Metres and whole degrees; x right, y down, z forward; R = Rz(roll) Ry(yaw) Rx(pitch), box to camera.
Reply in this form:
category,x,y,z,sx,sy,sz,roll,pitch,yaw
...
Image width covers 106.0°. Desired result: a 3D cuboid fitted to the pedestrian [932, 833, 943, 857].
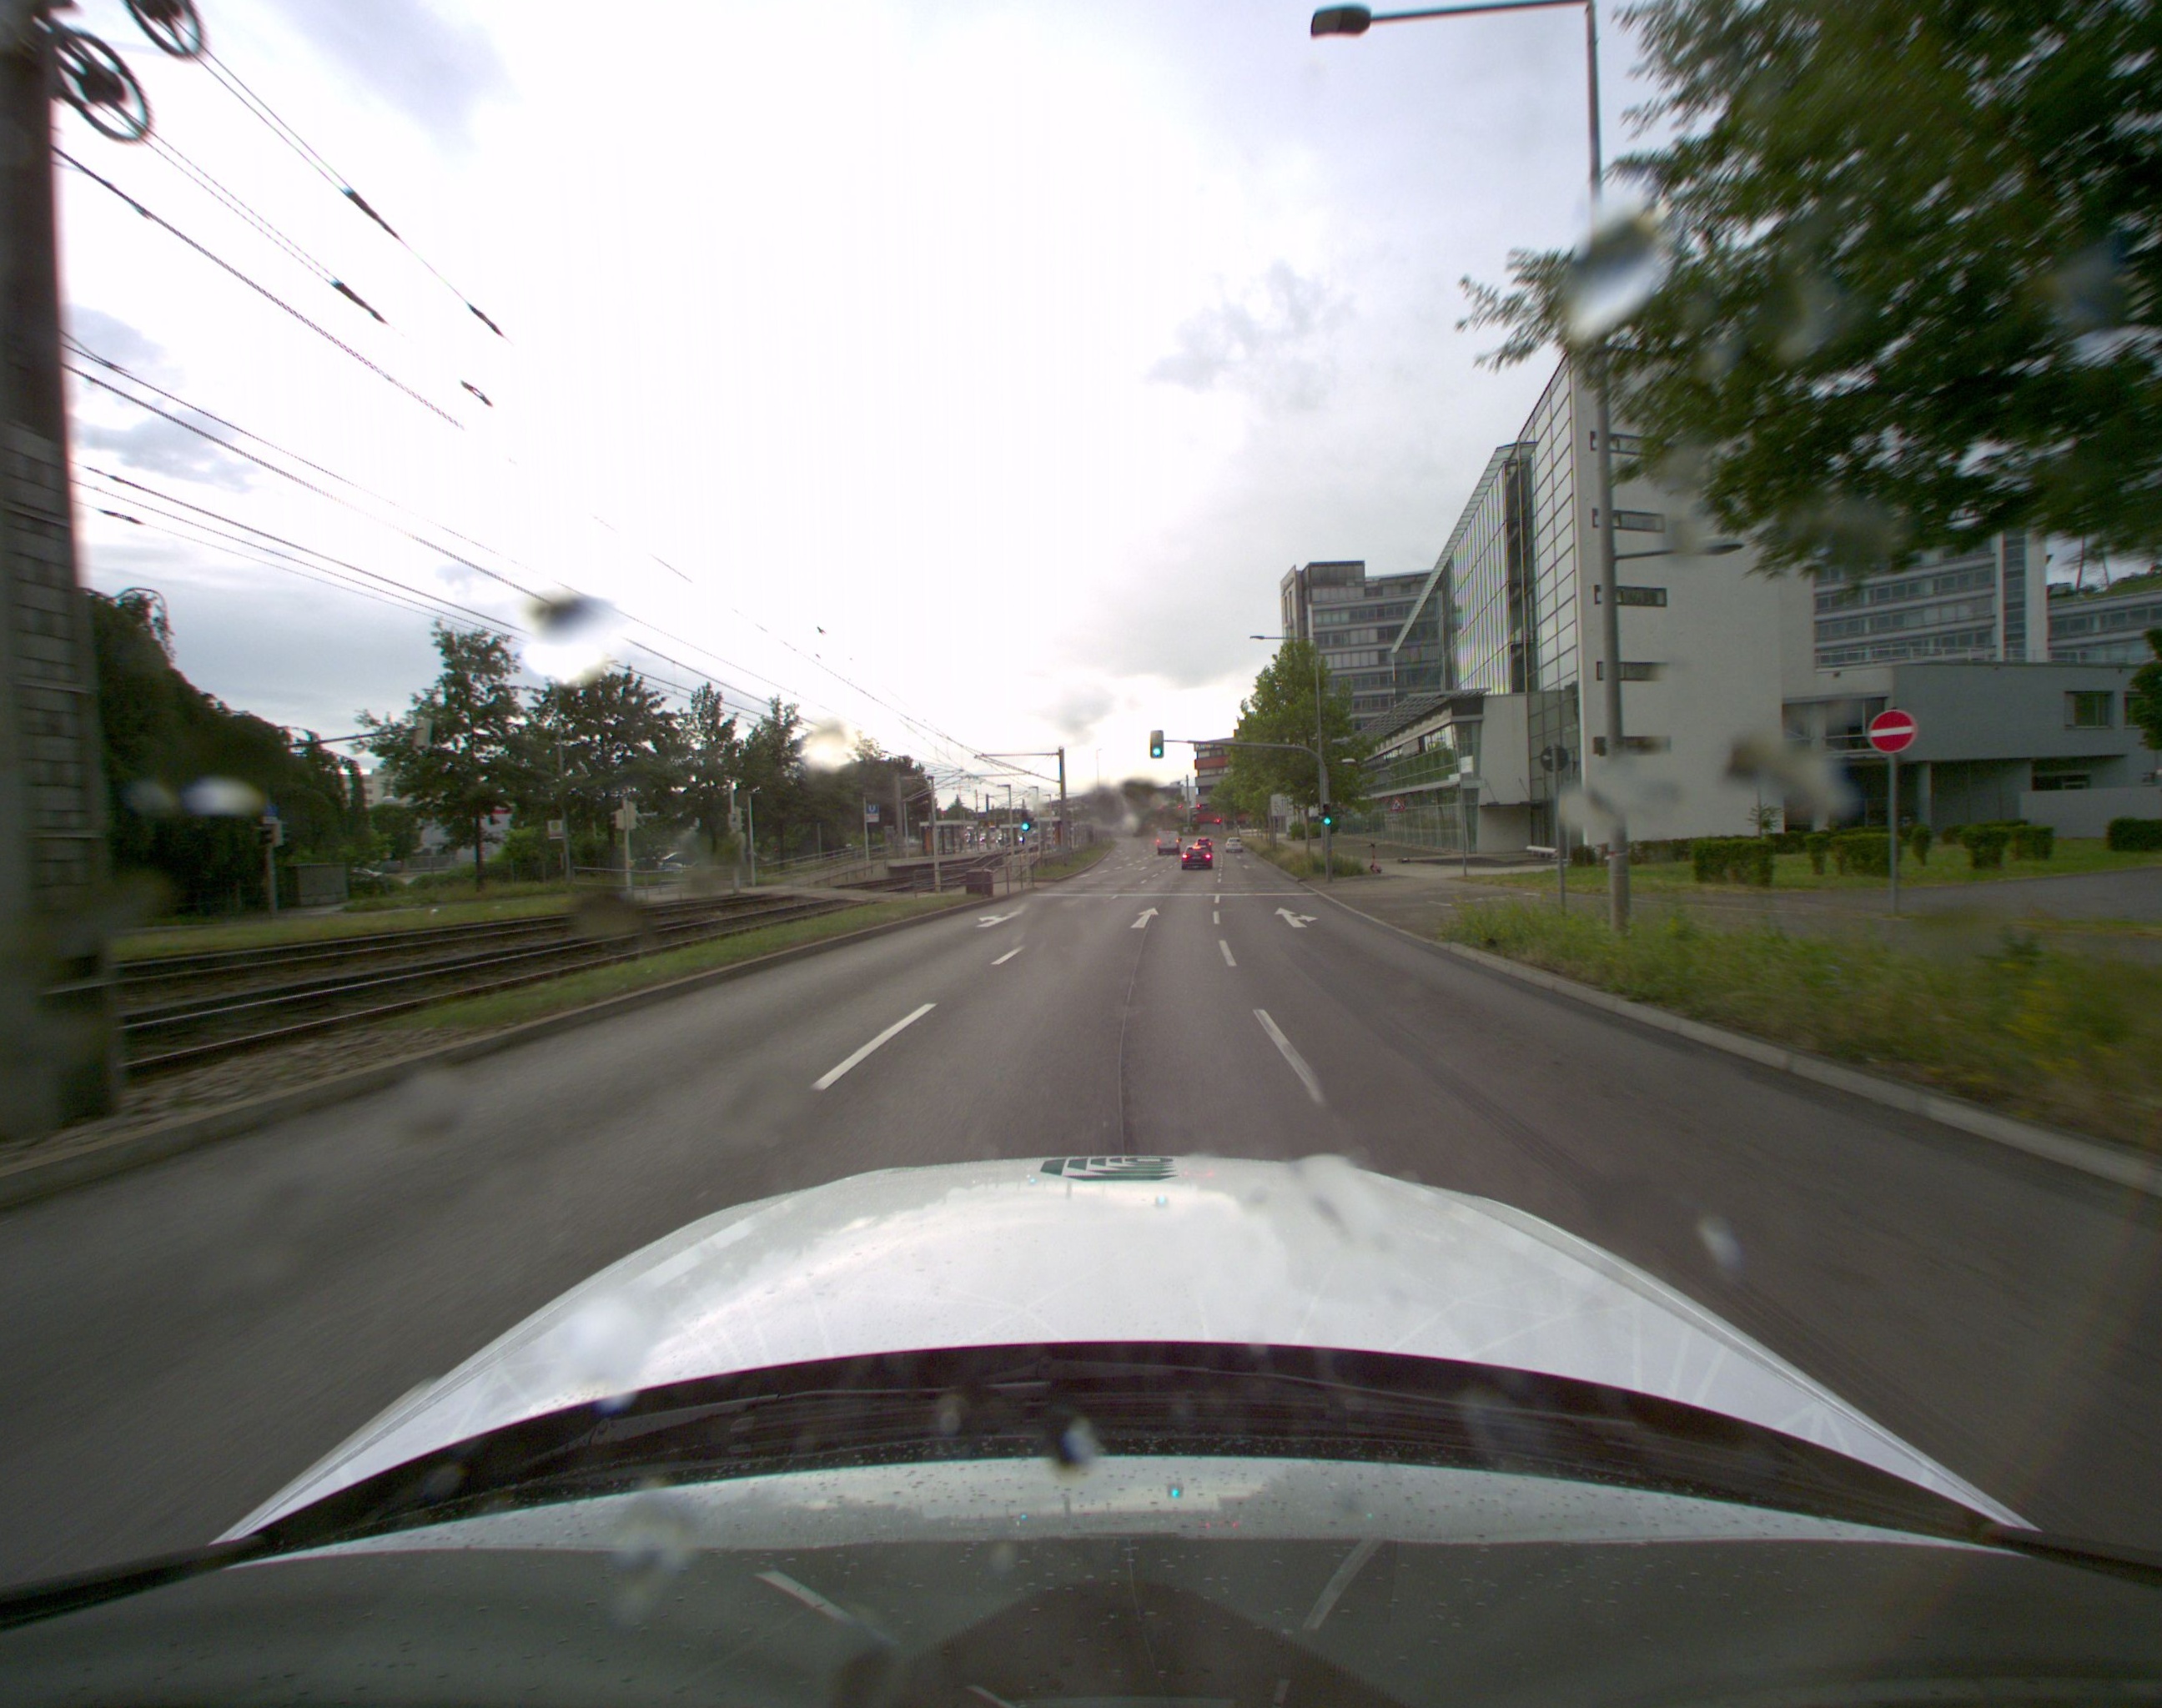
category,x,y,z,sx,sy,sz,roll,pitch,yaw
pedestrian,-11.050,-0.707,62.902,0.634,1.854,0.751,-1,-2,4

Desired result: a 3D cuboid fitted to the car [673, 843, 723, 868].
category,x,y,z,sx,sy,sz,roll,pitch,yaw
car,-32.398,0.163,68.995,1.983,2.014,4.008,-1,-1,7

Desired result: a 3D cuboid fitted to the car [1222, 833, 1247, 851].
category,x,y,z,sx,sy,sz,roll,pitch,yaw
car,15.497,-1.242,82.359,2.011,1.769,4.007,-1,2,5

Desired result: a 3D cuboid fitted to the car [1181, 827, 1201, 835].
category,x,y,z,sx,sy,sz,roll,pitch,yaw
car,23.480,-4.818,174.043,2.037,1.623,3.956,-2,1,-36

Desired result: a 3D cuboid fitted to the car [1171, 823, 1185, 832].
category,x,y,z,sx,sy,sz,roll,pitch,yaw
car,24.522,-6.821,206.671,2.000,2.014,3.973,-1,-2,-20

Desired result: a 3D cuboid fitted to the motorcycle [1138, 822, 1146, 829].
category,x,y,z,sx,sy,sz,roll,pitch,yaw
motorcycle,18.863,-8.916,252.162,1.991,2.014,3.992,-1,-1,-5

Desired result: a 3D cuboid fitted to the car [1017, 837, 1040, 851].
category,x,y,z,sx,sy,sz,roll,pitch,yaw
car,-5.584,-1.080,87.061,1.850,1.336,3.339,-1,2,5

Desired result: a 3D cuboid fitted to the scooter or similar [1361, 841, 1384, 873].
category,x,y,z,sx,sy,sz,roll,pitch,yaw
scooter or similar,12.289,0.115,34.356,0.456,1.263,1.337,-4,0,2

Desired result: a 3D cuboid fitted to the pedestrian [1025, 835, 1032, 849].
category,x,y,z,sx,sy,sz,roll,pitch,yaw
pedestrian,-7.056,-1.600,109.776,0.748,1.751,0.765,-1,-2,5

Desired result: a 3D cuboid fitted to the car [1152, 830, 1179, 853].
category,x,y,z,sx,sy,sz,roll,pitch,yaw
car,8.330,-1.257,79.636,2.498,2.176,5.159,-1,1,6

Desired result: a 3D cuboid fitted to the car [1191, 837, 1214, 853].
category,x,y,z,sx,sy,sz,roll,pitch,yaw
car,12.748,-0.975,85.667,2.012,1.623,4.004,-1,1,3

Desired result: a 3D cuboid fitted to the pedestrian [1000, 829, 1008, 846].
category,x,y,z,sx,sy,sz,roll,pitch,yaw
pedestrian,-9.151,-1.989,97.144,0.684,2.080,0.716,-1,1,9

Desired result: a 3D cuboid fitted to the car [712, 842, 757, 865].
category,x,y,z,sx,sy,sz,roll,pitch,yaw
car,-31.535,-0.042,74.266,1.983,2.014,4.008,-1,-1,7

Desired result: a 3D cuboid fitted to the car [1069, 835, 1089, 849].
category,x,y,z,sx,sy,sz,roll,pitch,yaw
car,-0.199,-1.432,95.767,1.984,1.452,3.854,-1,4,5

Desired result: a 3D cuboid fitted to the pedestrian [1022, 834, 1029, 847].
category,x,y,z,sx,sy,sz,roll,pitch,yaw
pedestrian,-7.033,-1.704,103.407,0.725,1.715,0.833,-1,0,6

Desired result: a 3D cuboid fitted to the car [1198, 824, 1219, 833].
category,x,y,z,sx,sy,sz,roll,pitch,yaw
car,26.610,-5.311,169.898,2.037,1.623,4.278,-2,1,-36

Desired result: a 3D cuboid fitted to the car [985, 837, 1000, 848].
category,x,y,z,sx,sy,sz,roll,pitch,yaw
car,-18.646,-2.421,171.436,2.004,2.014,3.965,0,-2,-26

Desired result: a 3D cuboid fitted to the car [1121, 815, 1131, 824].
category,x,y,z,sx,sy,sz,roll,pitch,yaw
car,11.706,-9.034,213.014,1.991,2.014,3.991,-1,-1,-6

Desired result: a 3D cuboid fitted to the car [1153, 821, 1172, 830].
category,x,y,z,sx,sy,sz,roll,pitch,yaw
car,18.441,-6.484,184.085,2.009,2.013,3.957,0,1,-36

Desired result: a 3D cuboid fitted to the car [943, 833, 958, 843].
category,x,y,z,sx,sy,sz,roll,pitch,yaw
car,-28.215,-3.415,176.297,2.004,2.014,3.965,0,-2,-26

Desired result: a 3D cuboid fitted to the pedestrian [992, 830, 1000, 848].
category,x,y,z,sx,sy,sz,roll,pitch,yaw
pedestrian,-9.670,-1.670,92.355,0.853,2.014,1.039,-1,-2,-5

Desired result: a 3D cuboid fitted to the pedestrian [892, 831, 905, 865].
category,x,y,z,sx,sy,sz,roll,pitch,yaw
pedestrian,-10.679,-0.342,47.702,0.547,1.953,0.664,-1,-2,1

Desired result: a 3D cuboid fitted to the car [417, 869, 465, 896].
category,x,y,z,sx,sy,sz,roll,pitch,yaw
car,-36.422,1.618,46.431,2.009,1.415,3.955,0,-2,-36

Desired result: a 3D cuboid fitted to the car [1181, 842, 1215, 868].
category,x,y,z,sx,sy,sz,roll,pitch,yaw
car,7.139,0.025,49.374,1.752,1.463,4.642,-1,1,11

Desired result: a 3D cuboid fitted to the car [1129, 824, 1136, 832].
category,x,y,z,sx,sy,sz,roll,pitch,yaw
car,14.420,-7.421,228.501,1.812,2.014,3.469,-1,-1,0
